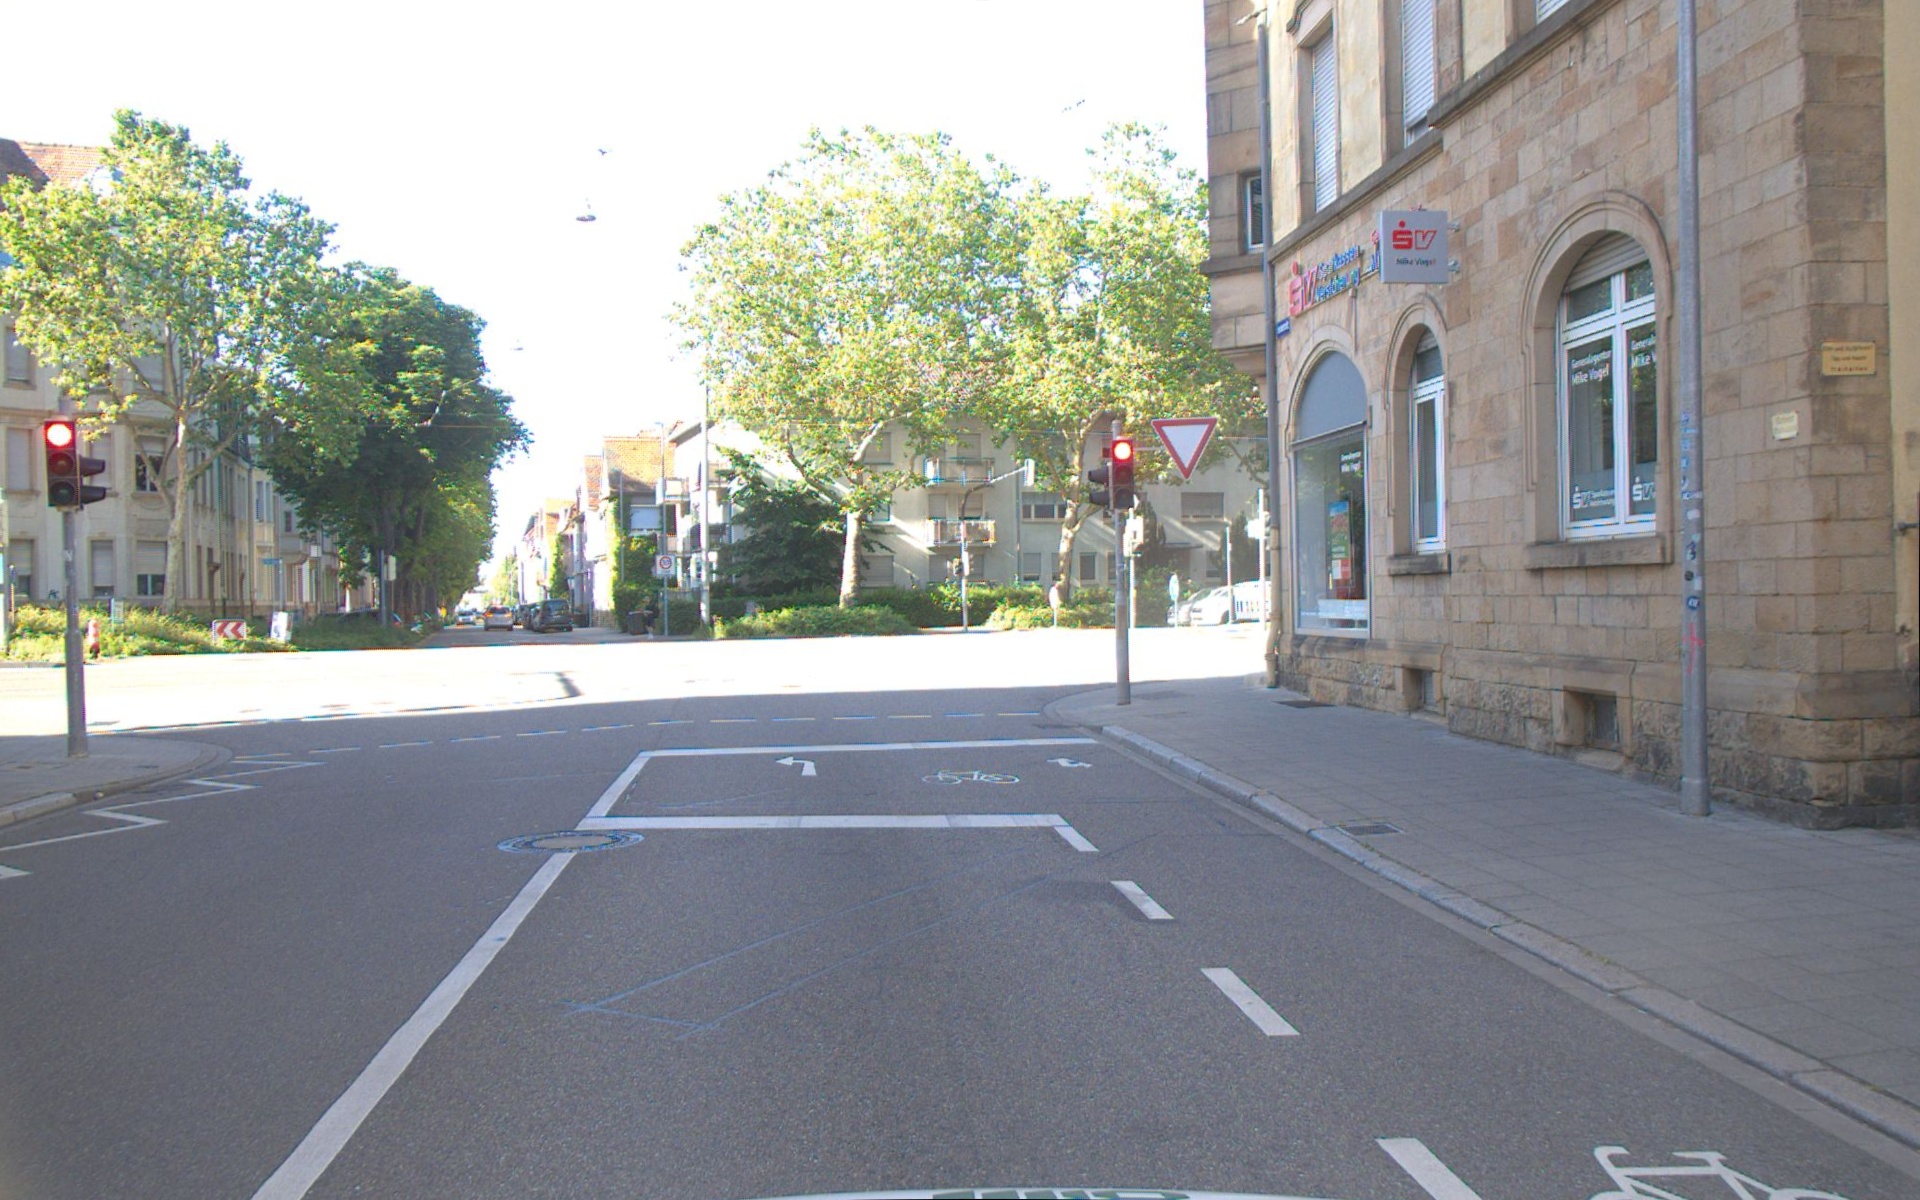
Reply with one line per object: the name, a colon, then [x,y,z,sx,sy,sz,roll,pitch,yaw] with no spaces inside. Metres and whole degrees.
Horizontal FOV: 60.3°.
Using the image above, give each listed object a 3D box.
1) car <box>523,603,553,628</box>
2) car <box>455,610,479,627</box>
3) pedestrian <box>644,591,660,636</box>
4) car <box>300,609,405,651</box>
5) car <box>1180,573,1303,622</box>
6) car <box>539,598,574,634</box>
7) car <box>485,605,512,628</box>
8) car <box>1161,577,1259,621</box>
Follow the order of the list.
car: [-33.160,1.220,129.869,1.964,1.865,3.976,0,0,-20]
car: [-46.376,1.770,155.585,1.963,1.471,3.979,-2,1,-18]
pedestrian: [-12.326,0.552,66.194,0.621,1.780,0.658,0,-1,-9]
car: [-24.805,1.206,67.485,3.933,1.512,1.670,-2,1,-23]
car: [9.241,-0.091,54.284,3.739,1.498,1.617,-2,1,-25]
car: [-24.348,0.965,99.803,1.960,2.049,3.986,-2,1,-14]
car: [-31.400,1.099,112.534,1.645,1.508,3.509,0,0,-14]
car: [9.234,-0.037,61.047,3.339,1.513,1.512,-2,1,-27]
